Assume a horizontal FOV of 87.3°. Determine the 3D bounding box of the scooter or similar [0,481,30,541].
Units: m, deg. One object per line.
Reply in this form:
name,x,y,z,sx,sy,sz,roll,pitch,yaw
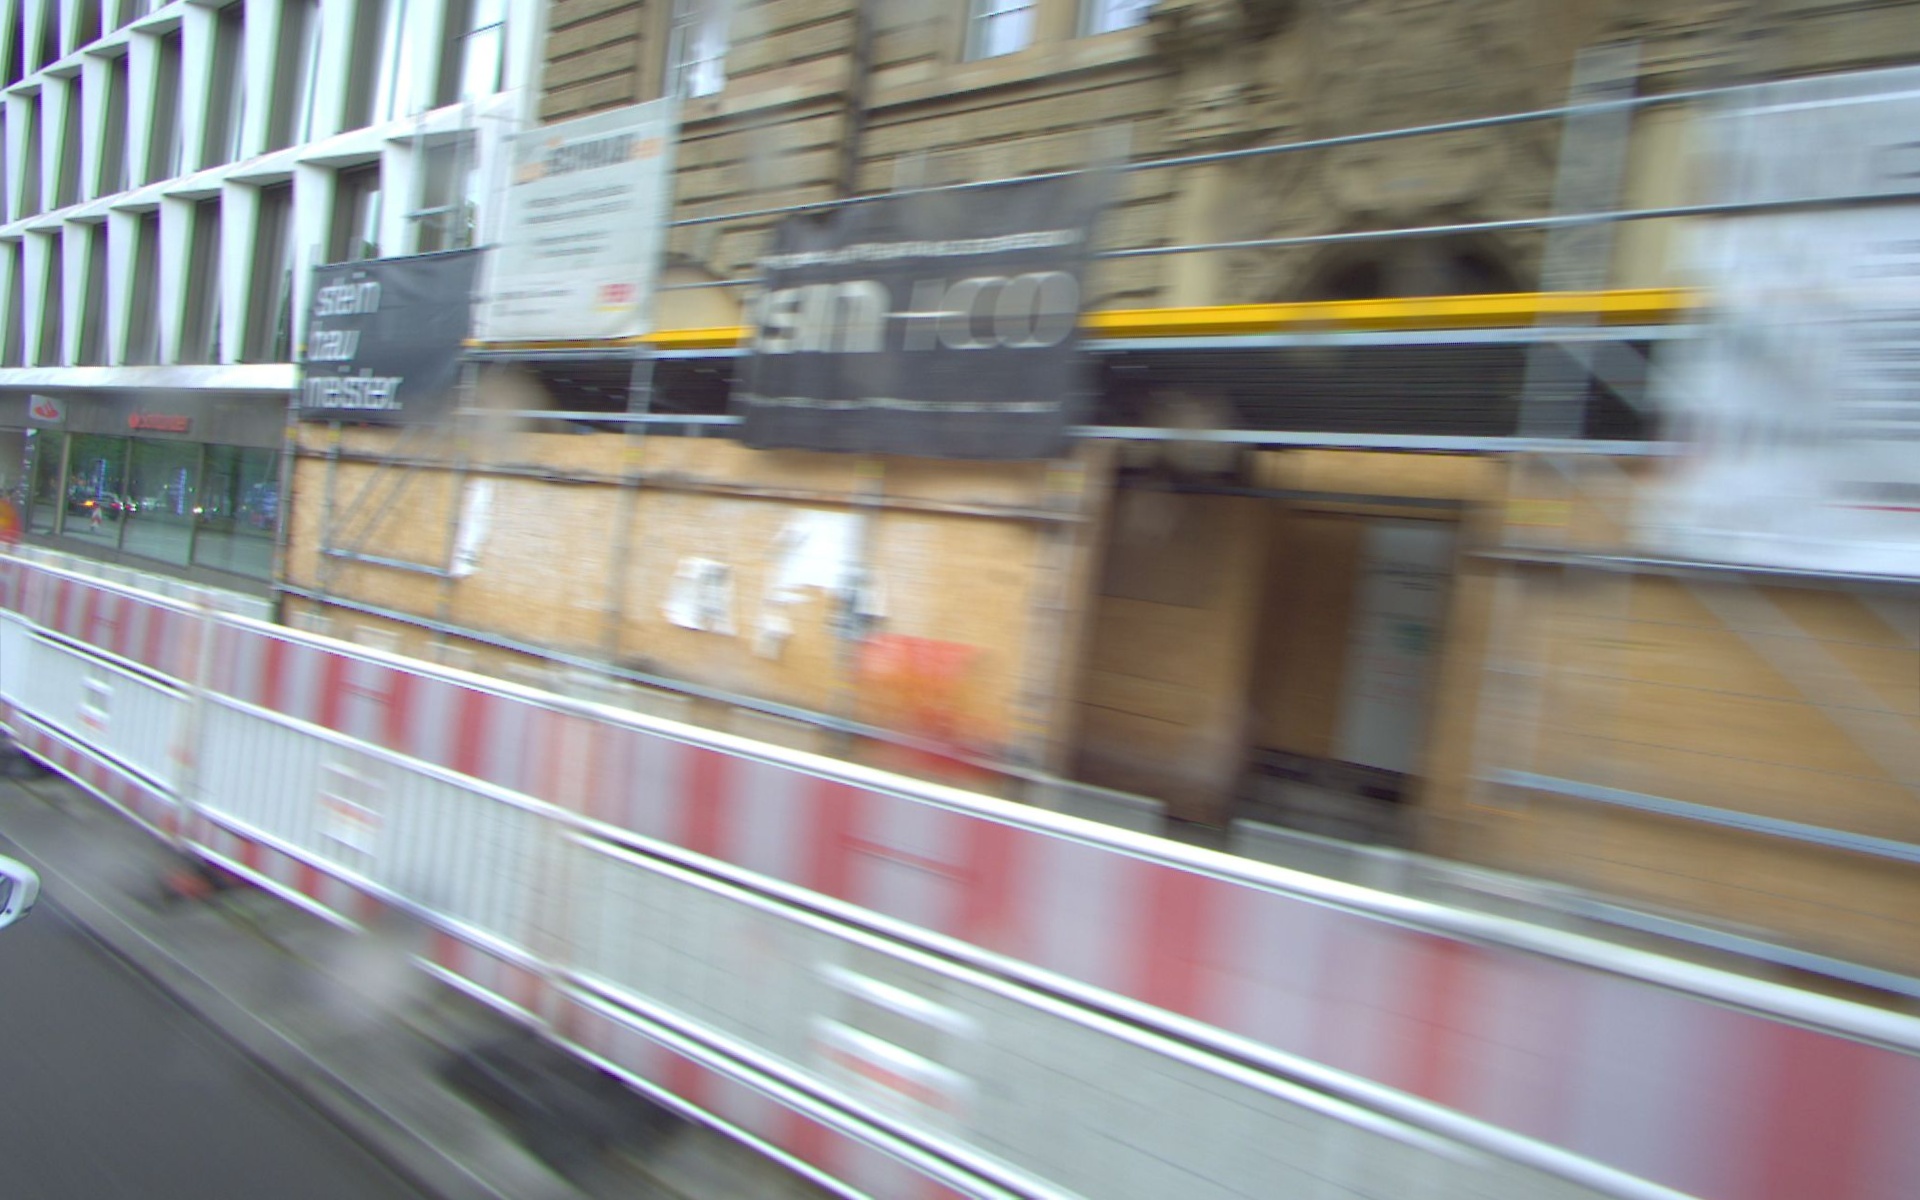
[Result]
scooter or similar,-21.260,-2.006,22.545,1.172,1.251,0.411,8,1,42
